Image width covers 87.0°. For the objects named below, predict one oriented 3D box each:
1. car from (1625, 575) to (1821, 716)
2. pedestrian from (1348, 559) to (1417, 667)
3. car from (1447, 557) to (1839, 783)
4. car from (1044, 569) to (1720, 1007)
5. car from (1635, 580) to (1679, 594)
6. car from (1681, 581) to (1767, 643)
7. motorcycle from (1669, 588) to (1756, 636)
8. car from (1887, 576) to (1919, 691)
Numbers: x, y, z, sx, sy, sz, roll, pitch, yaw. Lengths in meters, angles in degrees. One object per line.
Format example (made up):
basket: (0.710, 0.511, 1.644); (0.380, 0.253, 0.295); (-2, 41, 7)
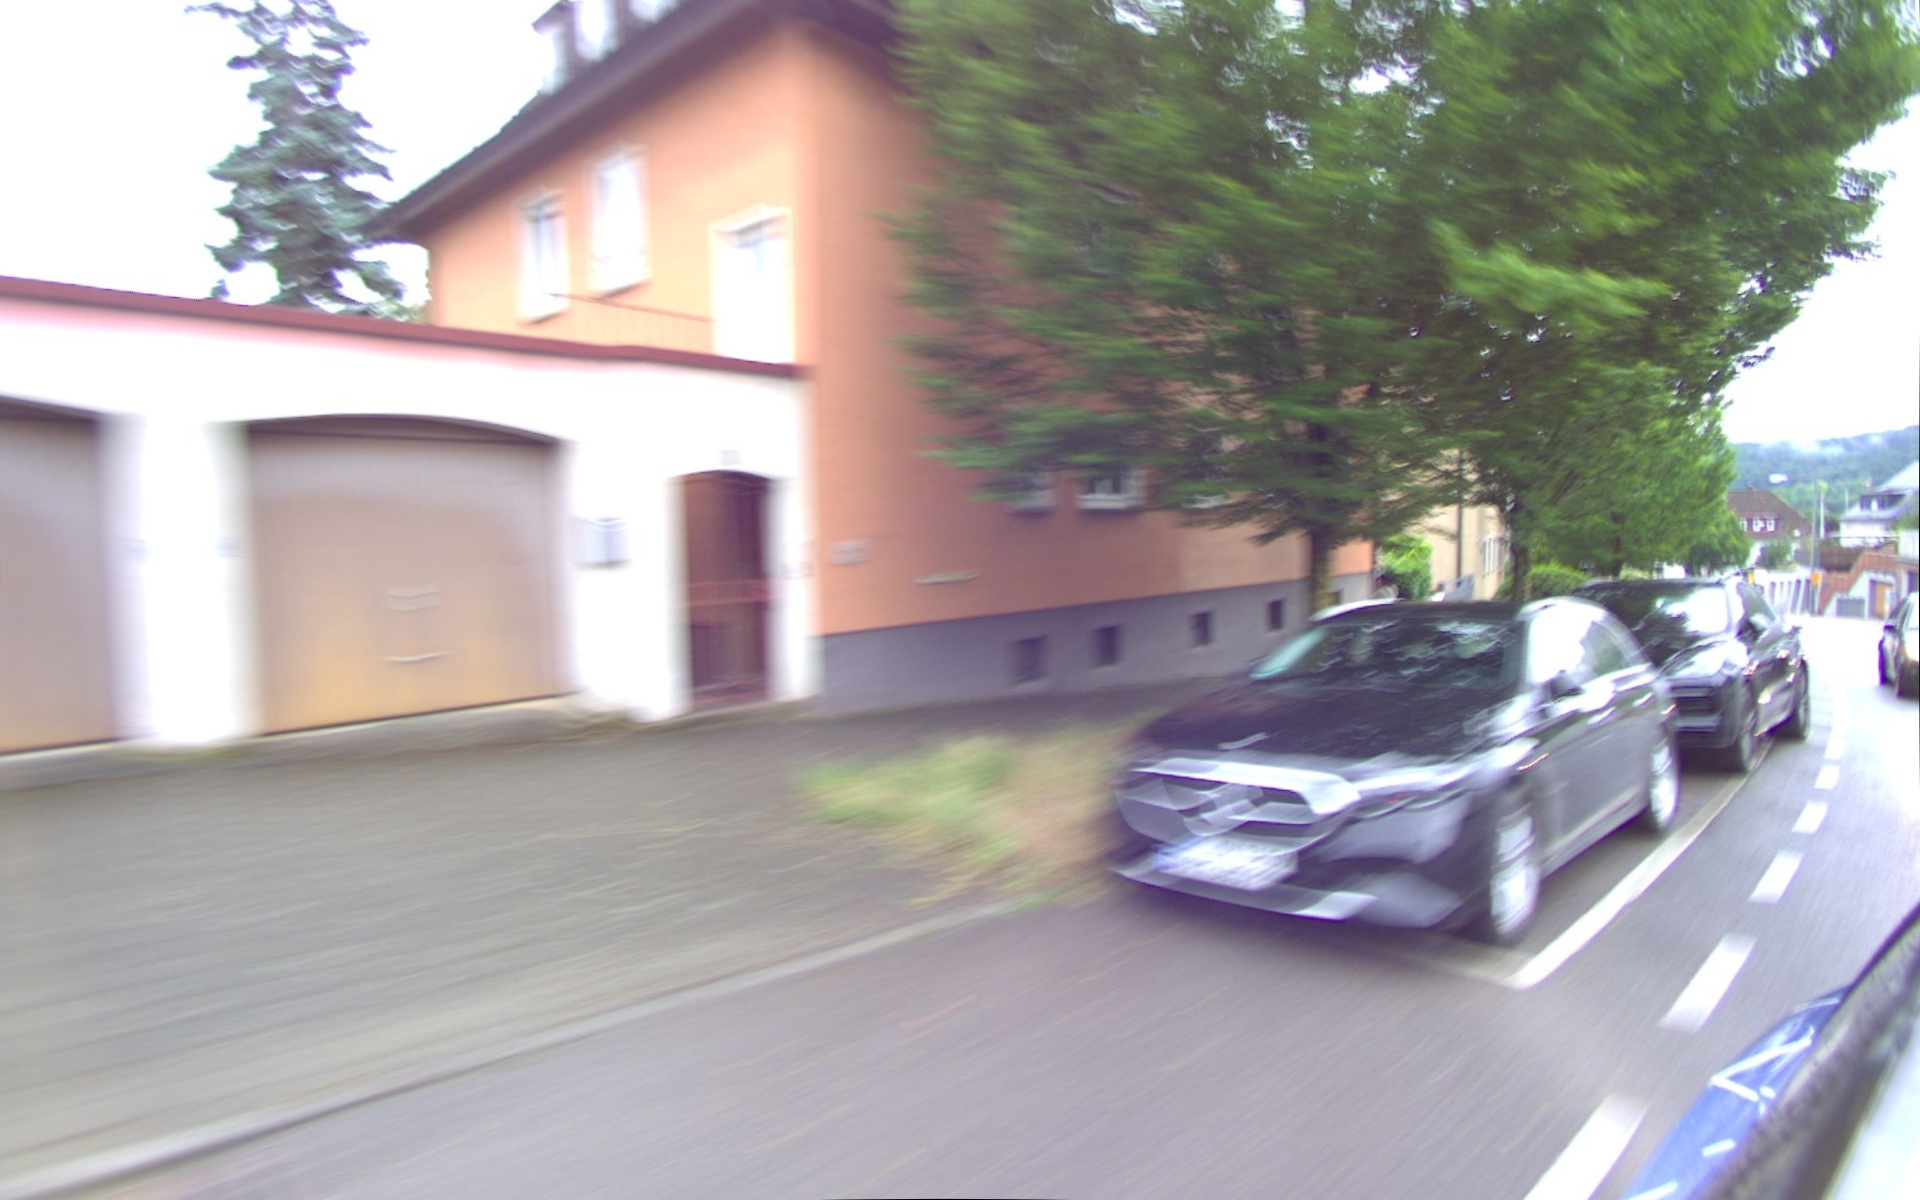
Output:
car: (10.577, 0.477, 13.928); (1.852, 1.601, 4.788); (1, 1, 40)
pedestrian: (7.168, 0.201, 17.152); (0.759, 1.741, 0.889); (4, 3, 40)
car: (6.928, 0.478, 9.991); (5.146, 1.677, 2.057); (-1, 1, -42)
car: (2.814, 0.634, 5.883); (4.974, 1.488, 1.862); (-1, -1, -45)
car: (89.108, -1.645, 129.397); (4.154, 1.694, 1.873); (0, 1, 10)
car: (20.202, 0.283, 26.885); (1.651, 1.508, 3.949); (-1, 0, 35)
motorcycle: (21.688, 0.338, 29.211); (1.903, 1.347, 0.779); (-1, -1, 31)
car: (14.912, 0.457, 14.655); (1.884, 1.549, 4.000); (1, 1, 38)
